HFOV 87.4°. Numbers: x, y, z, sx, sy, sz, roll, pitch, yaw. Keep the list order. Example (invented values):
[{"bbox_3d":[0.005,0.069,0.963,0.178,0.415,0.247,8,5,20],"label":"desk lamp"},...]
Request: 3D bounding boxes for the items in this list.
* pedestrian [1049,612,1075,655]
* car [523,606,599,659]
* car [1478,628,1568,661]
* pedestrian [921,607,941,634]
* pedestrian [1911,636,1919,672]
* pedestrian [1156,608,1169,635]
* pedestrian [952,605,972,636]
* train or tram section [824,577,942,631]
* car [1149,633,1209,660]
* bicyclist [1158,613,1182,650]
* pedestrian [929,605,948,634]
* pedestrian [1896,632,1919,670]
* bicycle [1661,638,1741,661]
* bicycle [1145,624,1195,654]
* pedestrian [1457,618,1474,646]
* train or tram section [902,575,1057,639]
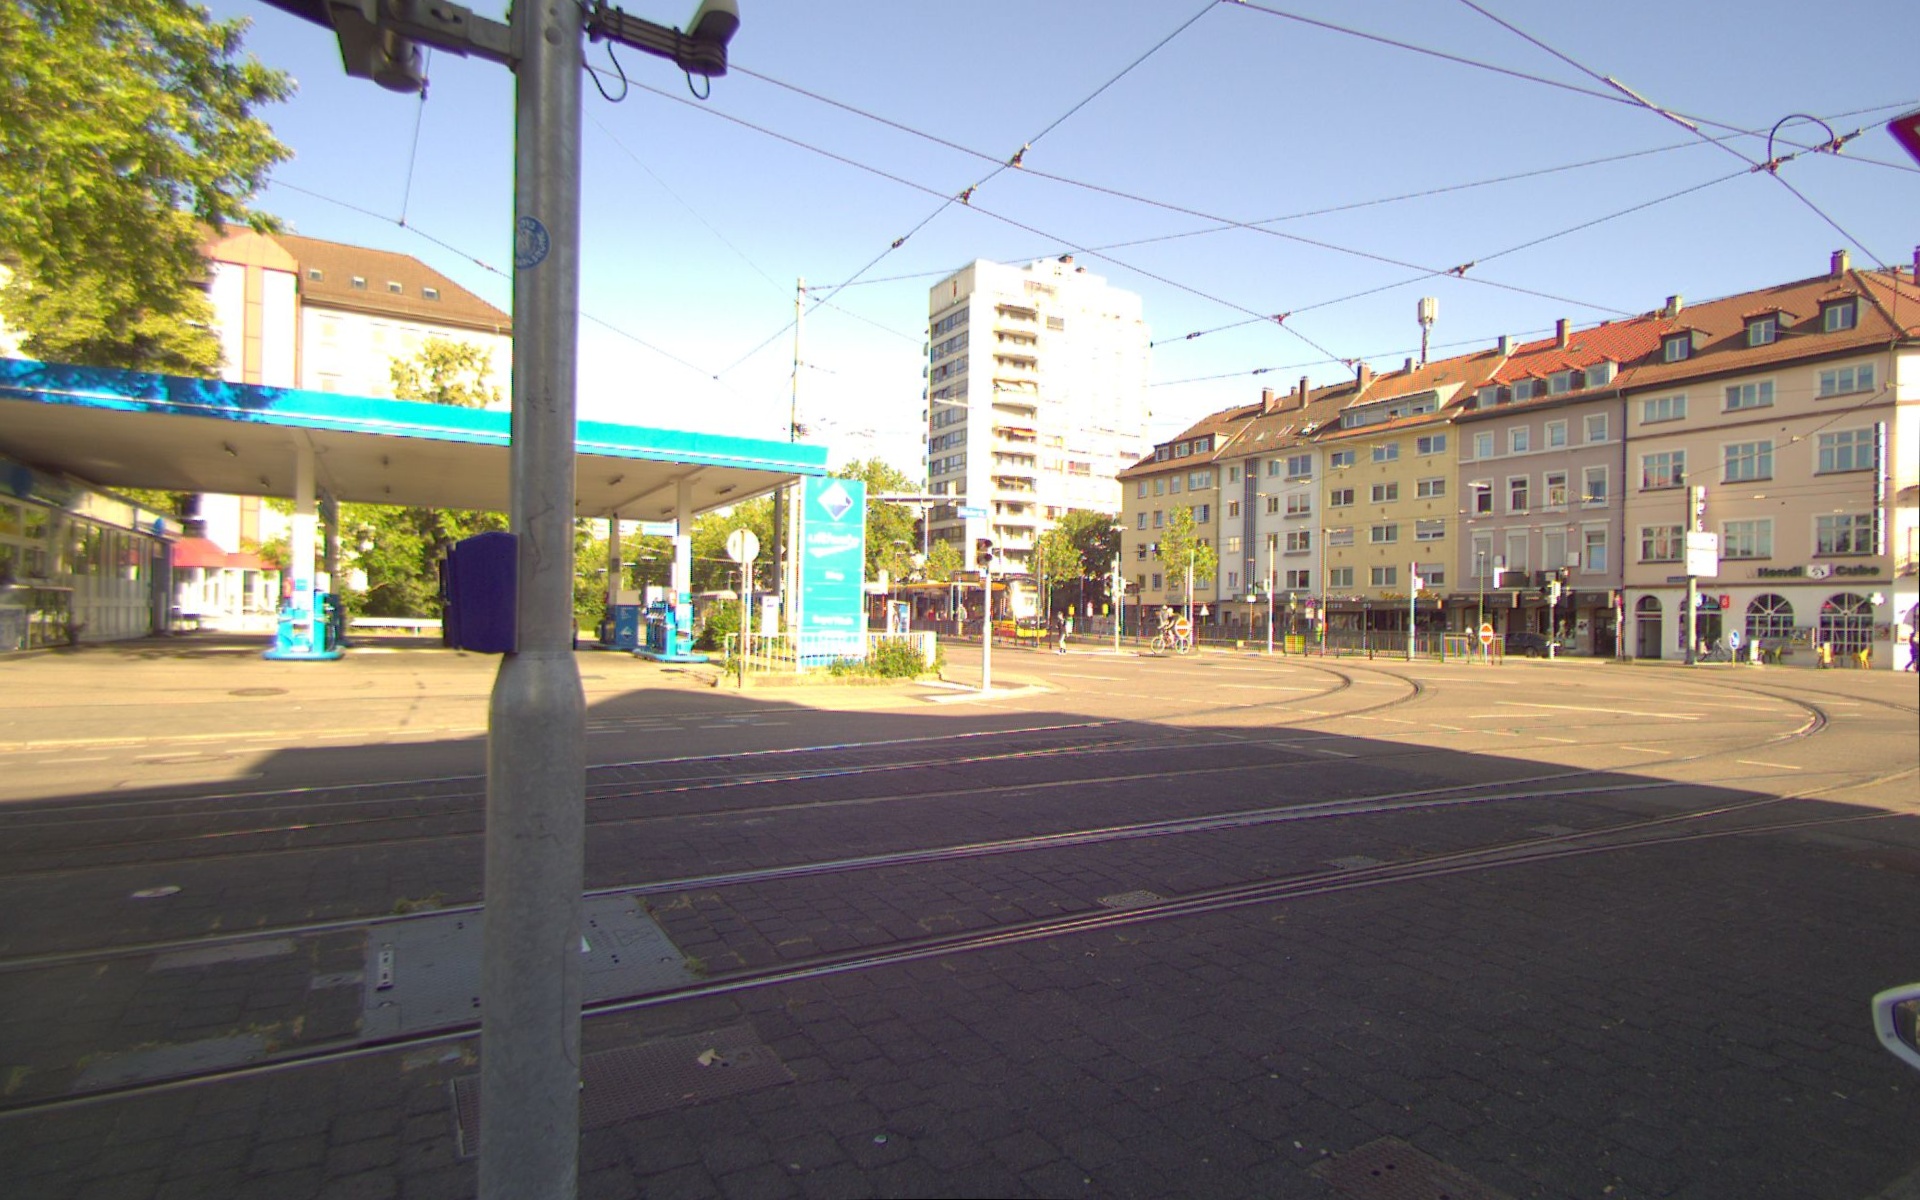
[{"bbox_3d":[4.017,1.301,39.522,0.675,1.656,0.694,2,0,-35],"label":"pedestrian"},{"bbox_3d":[-11.997,0.947,30.088,1.764,1.411,3.455,2,0,-28],"label":"car"},{"bbox_3d":[30.853,2.418,55.136,1.970,1.692,3.981,1,-1,-21],"label":"car"},{"bbox_3d":[-1.618,1.148,56.117,0.814,1.532,0.699,1,-1,-33],"label":"pedestrian"},{"bbox_3d":[40.678,2.287,42.419,0.460,1.496,0.629,2,0,-33],"label":"pedestrian"},{"bbox_3d":[12.669,1.352,62.734,0.570,1.649,0.522,2,0,-31],"label":"pedestrian"},{"bbox_3d":[0.113,1.086,52.880,0.814,1.608,0.699,1,-1,-33],"label":"pedestrian"},{"bbox_3d":[-5.498,0.199,68.009,2.751,3.273,12.286,2,0,-31],"label":"train or tram section"},{"bbox_3d":[15.133,3.211,69.575,1.928,1.639,4.151,2,0,-26],"label":"car"},{"bbox_3d":[8.039,1.214,38.457,0.787,1.384,0.560,2,0,2],"label":"bicyclist"},{"bbox_3d":[-1.172,1.051,54.438,0.814,1.532,0.699,1,-1,-33],"label":"pedestrian"},{"bbox_3d":[41.131,2.199,43.587,0.460,1.633,0.629,2,0,-33],"label":"pedestrian"},{"bbox_3d":[37.497,2.493,50.892,0.989,0.993,3.115,2,0,-29],"label":"bicycle"},{"bbox_3d":[8.029,1.499,38.480,1.759,1.084,0.575,2,0,1],"label":"bicycle"},{"bbox_3d":[30.586,1.943,60.796,0.693,1.656,0.629,2,0,-33],"label":"pedestrian"},{"bbox_3d":[0.752,0.320,57.518,2.751,3.273,12.286,2,0,-31],"label":"train or tram section"}]
